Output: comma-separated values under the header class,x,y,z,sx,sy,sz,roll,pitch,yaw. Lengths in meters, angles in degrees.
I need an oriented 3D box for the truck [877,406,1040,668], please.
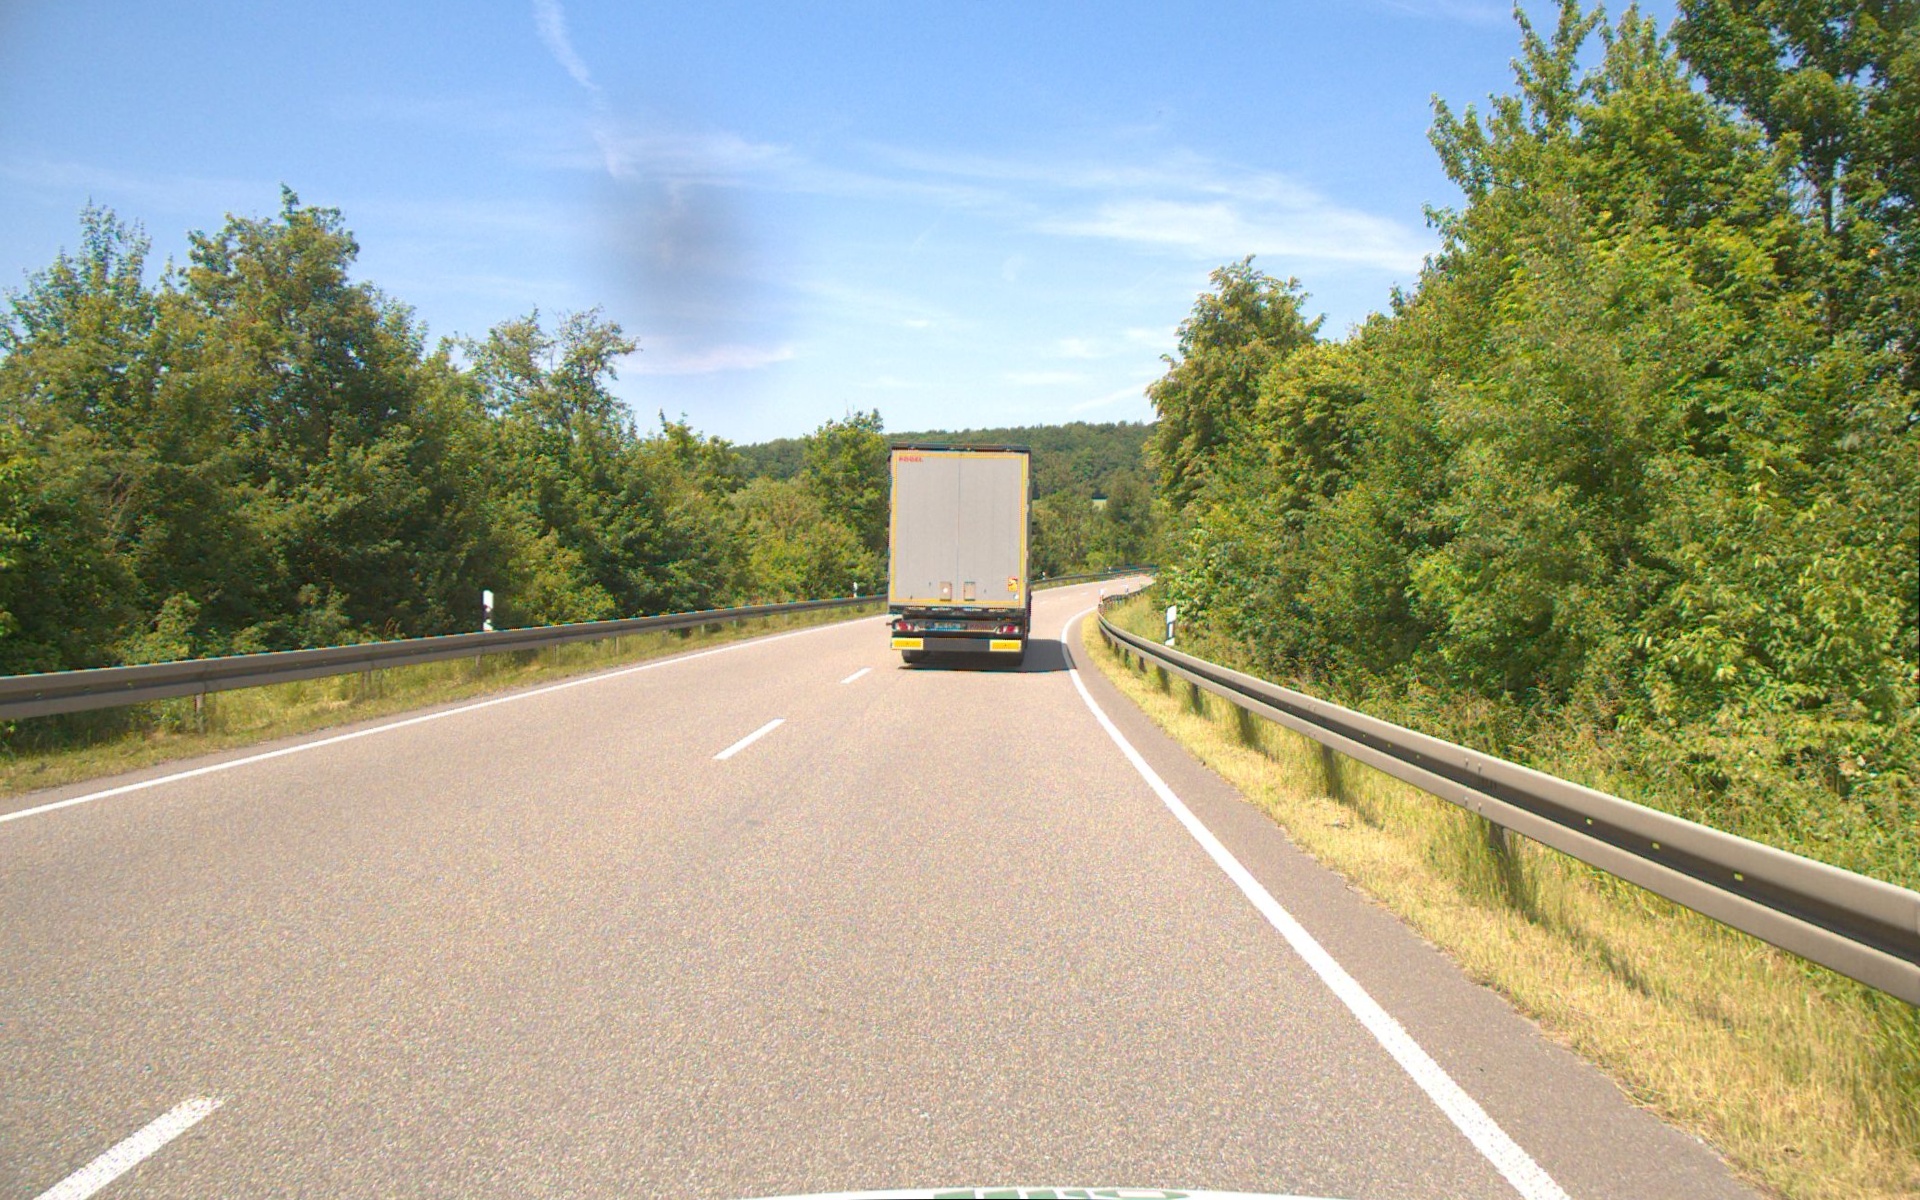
class,x,y,z,sx,sy,sz,roll,pitch,yaw
truck,0.252,-1.156,35.216,2.758,4.611,11.773,1,0,3
